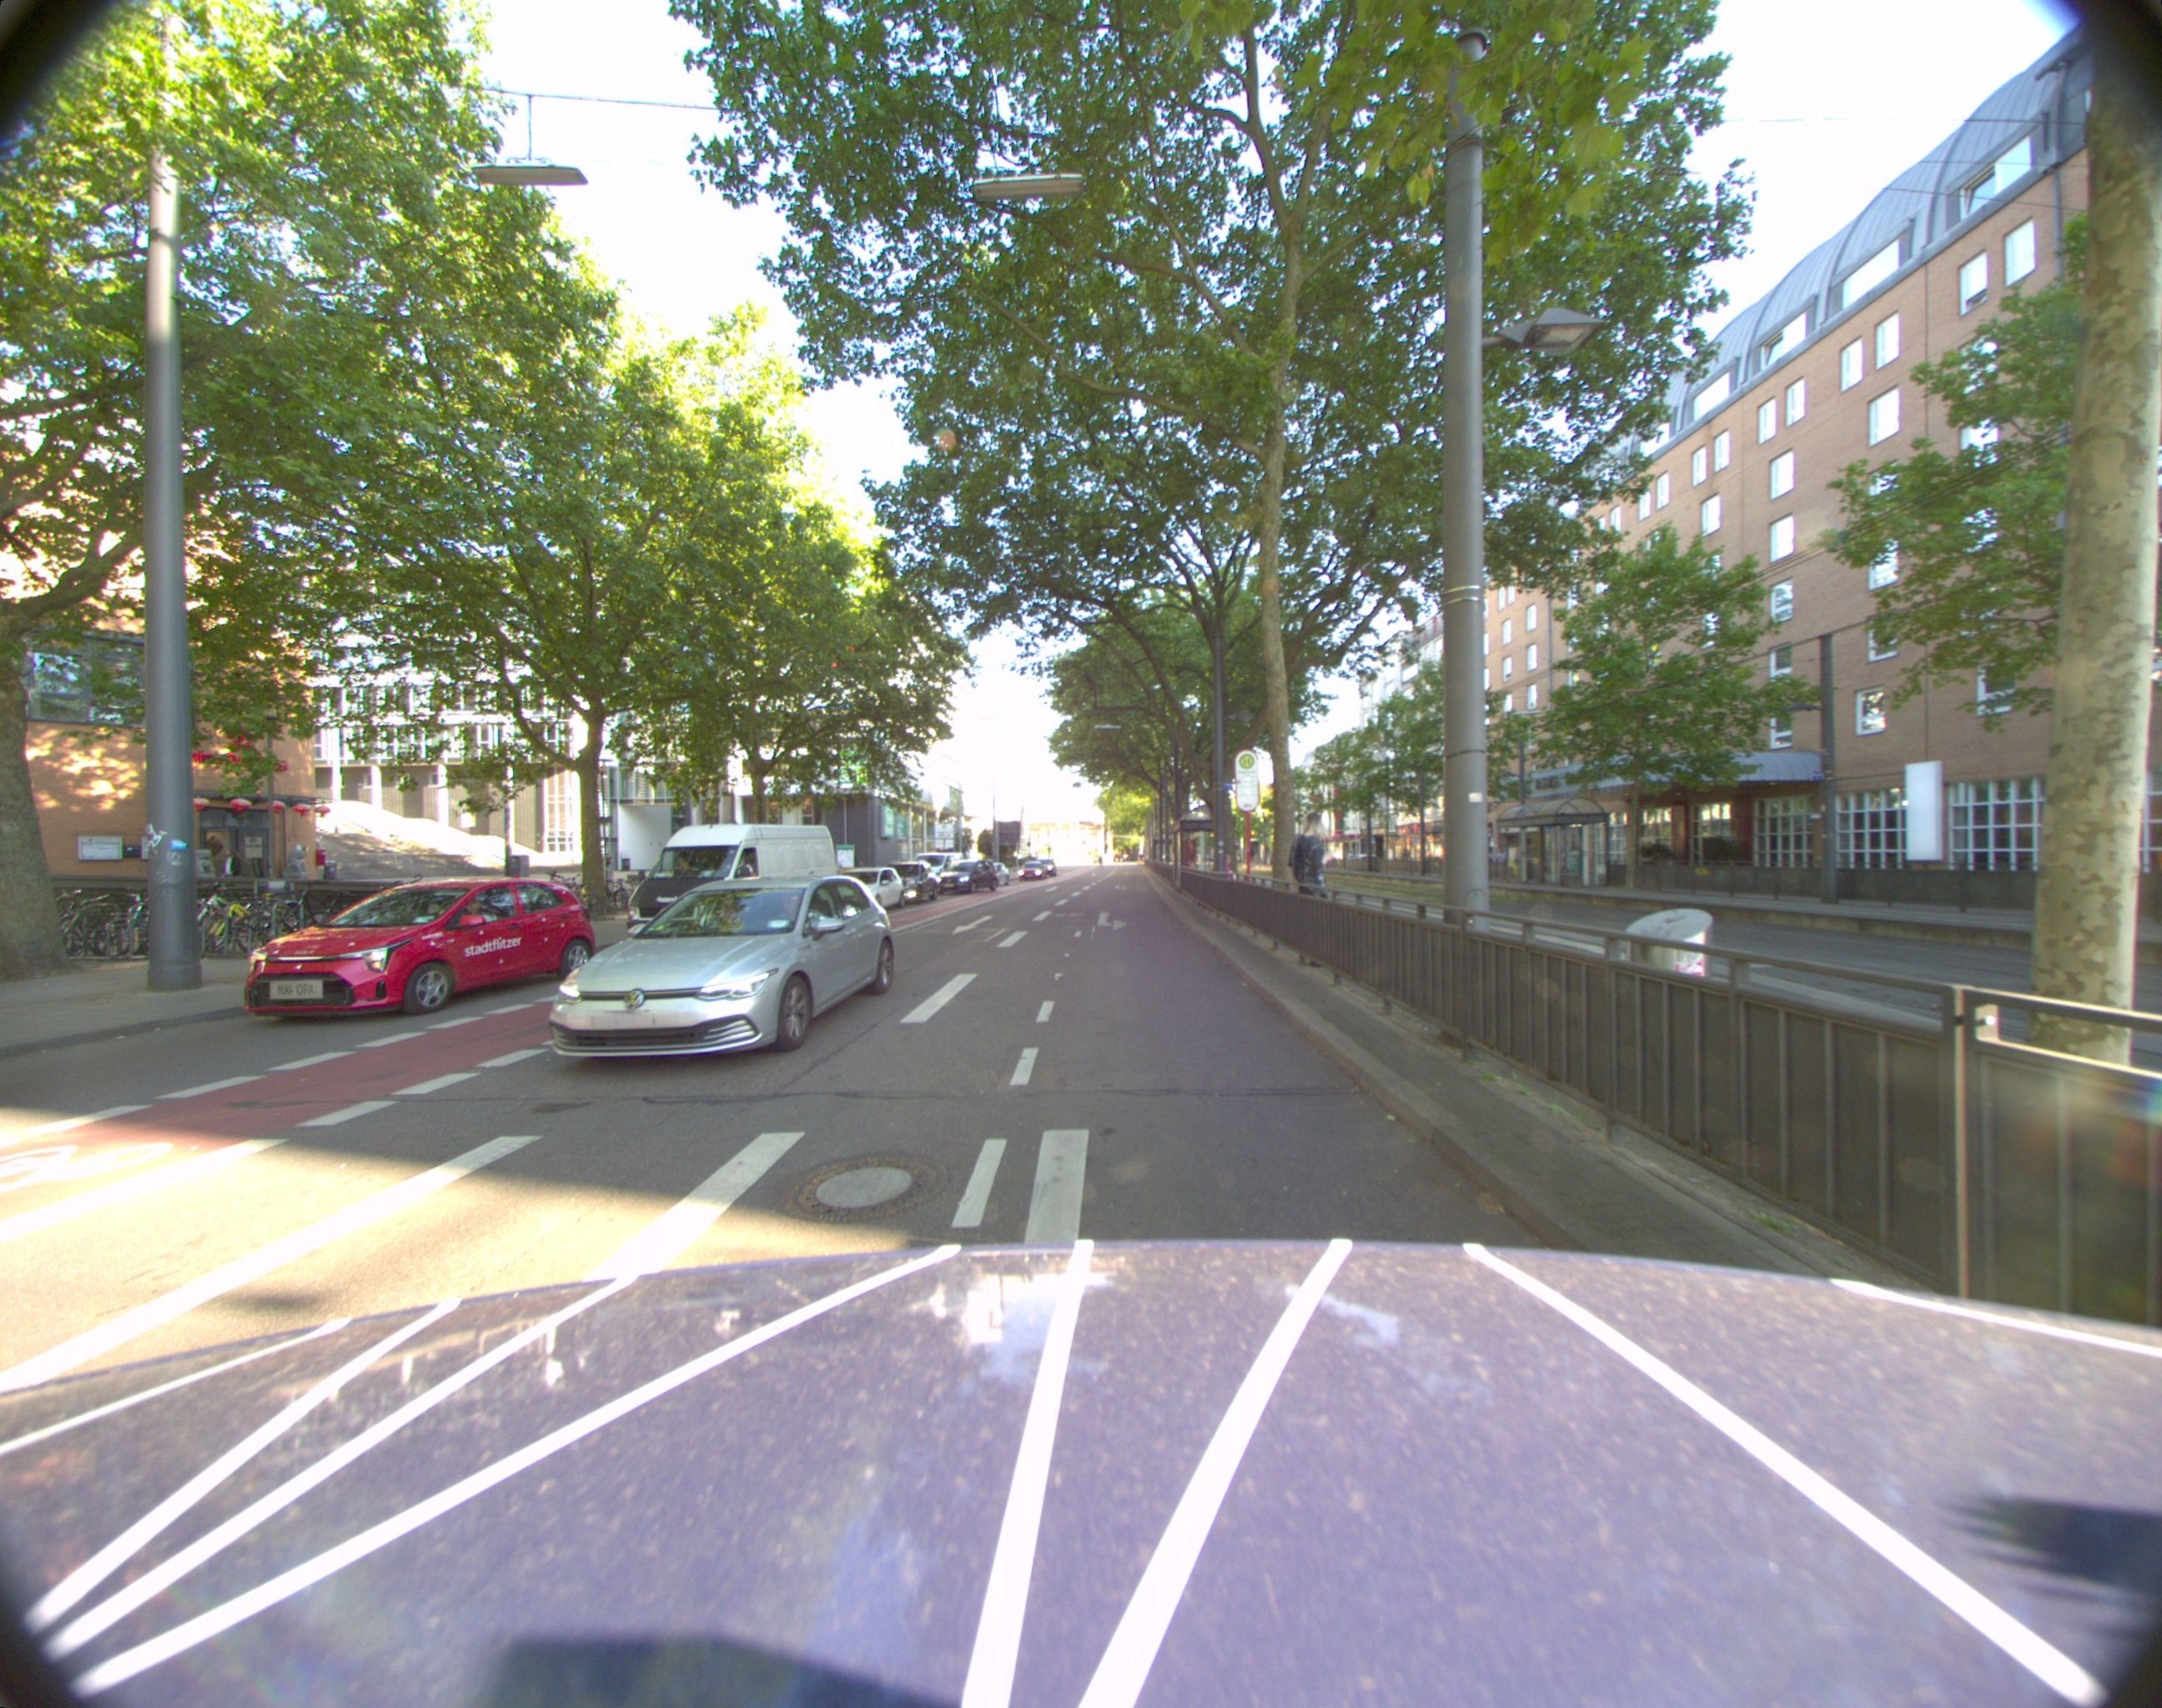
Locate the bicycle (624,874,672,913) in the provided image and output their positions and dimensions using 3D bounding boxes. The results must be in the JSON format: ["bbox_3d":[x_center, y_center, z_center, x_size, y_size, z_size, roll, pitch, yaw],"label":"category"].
[{"bbox_3d":[-14.116,1.259,24.820,0.495,1.187,1.850,0,0,1],"label":"bicycle"}]

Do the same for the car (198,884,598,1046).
[{"bbox_3d":[-7.963,1.179,9.397,1.606,1.449,3.651,-1,0,0],"label":"car"}]

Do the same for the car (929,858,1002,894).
[{"bbox_3d":[-5.541,1.016,37.067,1.964,1.610,4.335,-1,0,14],"label":"car"}]

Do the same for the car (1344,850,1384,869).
[{"bbox_3d":[23.330,0.420,62.787,1.760,1.479,4.309,-1,0,2],"label":"car"}]

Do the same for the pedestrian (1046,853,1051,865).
[{"bbox_3d":[-4.365,0.676,103.144,0.611,1.644,0.583,-1,1,1],"label":"pedestrian"}]

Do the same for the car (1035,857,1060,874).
[{"bbox_3d":[-2.977,1.043,67.853,1.801,1.438,4.001,0,0,3],"label":"car"}]

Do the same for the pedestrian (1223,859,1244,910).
[{"bbox_3d":[3.931,0.778,19.622,0.500,1.308,0.419,0,1,8],"label":"pedestrian"}]

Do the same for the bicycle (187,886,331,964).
[{"bbox_3d":[-14.327,1.201,13.324,0.484,1.187,1.850,0,0,1],"label":"bicycle"}]

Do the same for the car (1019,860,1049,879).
[{"bbox_3d":[-3.609,1.154,59.069,1.801,1.369,4.001,0,0,3],"label":"car"}]

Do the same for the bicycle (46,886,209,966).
[{"bbox_3d":[-16.388,1.198,13.138,0.435,1.187,1.850,0,0,1],"label":"bicycle"}]

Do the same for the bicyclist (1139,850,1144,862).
[{"bbox_3d":[8.998,0.324,113.475,0.714,1.707,0.673,-1,1,0],"label":"bicyclist"}]

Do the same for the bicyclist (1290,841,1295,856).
[{"bbox_3d":[26.594,-0.671,95.547,0.572,1.893,0.813,0,1,6],"label":"bicyclist"}]

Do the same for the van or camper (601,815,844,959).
[{"bbox_3d":[-7.534,0.598,17.058,1.998,2.563,6.575,-2,0,3],"label":"van or camper"}]

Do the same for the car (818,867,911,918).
[{"bbox_3d":[-6.958,1.189,24.854,1.682,1.420,4.001,-1,0,3],"label":"car"}]

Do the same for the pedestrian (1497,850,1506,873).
[{"bbox_3d":[27.780,0.521,50.219,0.438,1.511,0.659,0,1,23],"label":"pedestrian"}]

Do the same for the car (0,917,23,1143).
[{"bbox_3d":[-7.990,1.170,2.961,1.743,1.476,4.251,-1,0,0],"label":"car"}]

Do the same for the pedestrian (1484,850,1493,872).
[{"bbox_3d":[27.055,0.454,50.445,0.438,1.497,0.659,0,1,23],"label":"pedestrian"}]

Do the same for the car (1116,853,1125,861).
[{"bbox_3d":[9.577,0.758,184.012,1.998,2.002,4.000,-1,0,1],"label":"car"}]

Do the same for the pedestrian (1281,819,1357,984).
[{"bbox_3d":[2.831,0.534,9.065,0.623,1.873,0.605,-2,3,-17],"label":"pedestrian"}]

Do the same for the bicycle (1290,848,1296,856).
[{"bbox_3d":[26.685,-0.296,95.564,0.451,0.998,1.753,-1,0,6],"label":"bicycle"}]

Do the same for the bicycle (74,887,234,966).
[{"bbox_3d":[-15.925,1.204,13.135,0.458,1.187,1.850,0,0,1],"label":"bicycle"}]

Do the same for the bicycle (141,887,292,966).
[{"bbox_3d":[-14.844,1.200,13.124,0.447,1.187,1.850,0,0,1],"label":"bicycle"}]

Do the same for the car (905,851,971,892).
[{"bbox_3d":[-7.495,0.863,40.350,1.965,1.983,4.960,-1,0,7],"label":"car"}]

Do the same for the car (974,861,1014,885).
[{"bbox_3d":[-5.491,1.167,48.379,1.801,1.369,4.001,0,0,3],"label":"car"}]

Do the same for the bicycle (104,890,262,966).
[{"bbox_3d":[-15.427,1.237,13.133,0.485,1.118,1.850,0,0,1],"label":"bicycle"}]

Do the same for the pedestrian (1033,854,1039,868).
[{"bbox_3d":[-5.255,0.865,89.244,0.648,1.644,0.643,-1,1,1],"label":"pedestrian"}]

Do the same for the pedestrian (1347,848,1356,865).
[{"bbox_3d":[31.353,0.294,88.043,0.806,2.002,0.763,-1,1,1],"label":"pedestrian"}]

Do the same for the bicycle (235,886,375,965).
[{"bbox_3d":[-13.319,1.194,13.128,0.482,1.187,1.850,0,0,1],"label":"bicycle"}]

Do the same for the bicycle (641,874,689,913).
[{"bbox_3d":[-13.573,1.269,24.841,0.522,1.187,1.850,0,0,1],"label":"bicycle"}]

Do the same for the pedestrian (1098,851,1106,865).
[{"bbox_3d":[2.954,0.566,107.268,0.772,2.002,0.831,-2,1,22],"label":"pedestrian"}]

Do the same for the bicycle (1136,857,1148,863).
[{"bbox_3d":[9.107,0.829,113.473,1.670,0.879,0.581,-1,1,0],"label":"bicycle"}]

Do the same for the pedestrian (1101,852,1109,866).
[{"bbox_3d":[3.321,0.677,105.106,0.772,2.002,0.831,-2,1,22],"label":"pedestrian"}]

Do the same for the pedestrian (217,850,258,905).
[{"bbox_3d":[-31.304,0.856,28.209,0.875,2.025,0.586,0,1,6],"label":"pedestrian"}]

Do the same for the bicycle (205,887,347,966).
[{"bbox_3d":[-13.822,1.205,13.134,0.448,1.187,1.850,0,0,1],"label":"bicycle"}]

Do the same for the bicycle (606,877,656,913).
[{"bbox_3d":[-14.660,1.317,24.818,0.522,1.088,1.797,0,0,1],"label":"bicycle"}]

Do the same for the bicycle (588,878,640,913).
[{"bbox_3d":[-15.221,1.344,24.794,0.516,1.027,1.850,0,0,1],"label":"bicycle"}]

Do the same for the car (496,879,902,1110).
[{"bbox_3d":[-3.168,1.061,7.356,1.733,1.432,4.000,-2,0,2],"label":"car"}]

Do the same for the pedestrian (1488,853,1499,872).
[{"bbox_3d":[30.880,0.607,56.906,0.519,1.427,0.516,0,1,4],"label":"pedestrian"}]

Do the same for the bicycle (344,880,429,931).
[{"bbox_3d":[-17.863,1.287,19.592,0.517,1.187,1.790,0,0,1],"label":"bicycle"}]

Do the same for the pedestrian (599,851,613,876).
[{"bbox_3d":[-29.813,0.614,47.700,0.719,1.549,0.639,-1,1,-35],"label":"pedestrian"}]

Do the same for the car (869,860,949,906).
[{"bbox_3d":[-6.660,1.084,29.864,1.818,1.610,4.229,-1,0,5],"label":"car"}]
